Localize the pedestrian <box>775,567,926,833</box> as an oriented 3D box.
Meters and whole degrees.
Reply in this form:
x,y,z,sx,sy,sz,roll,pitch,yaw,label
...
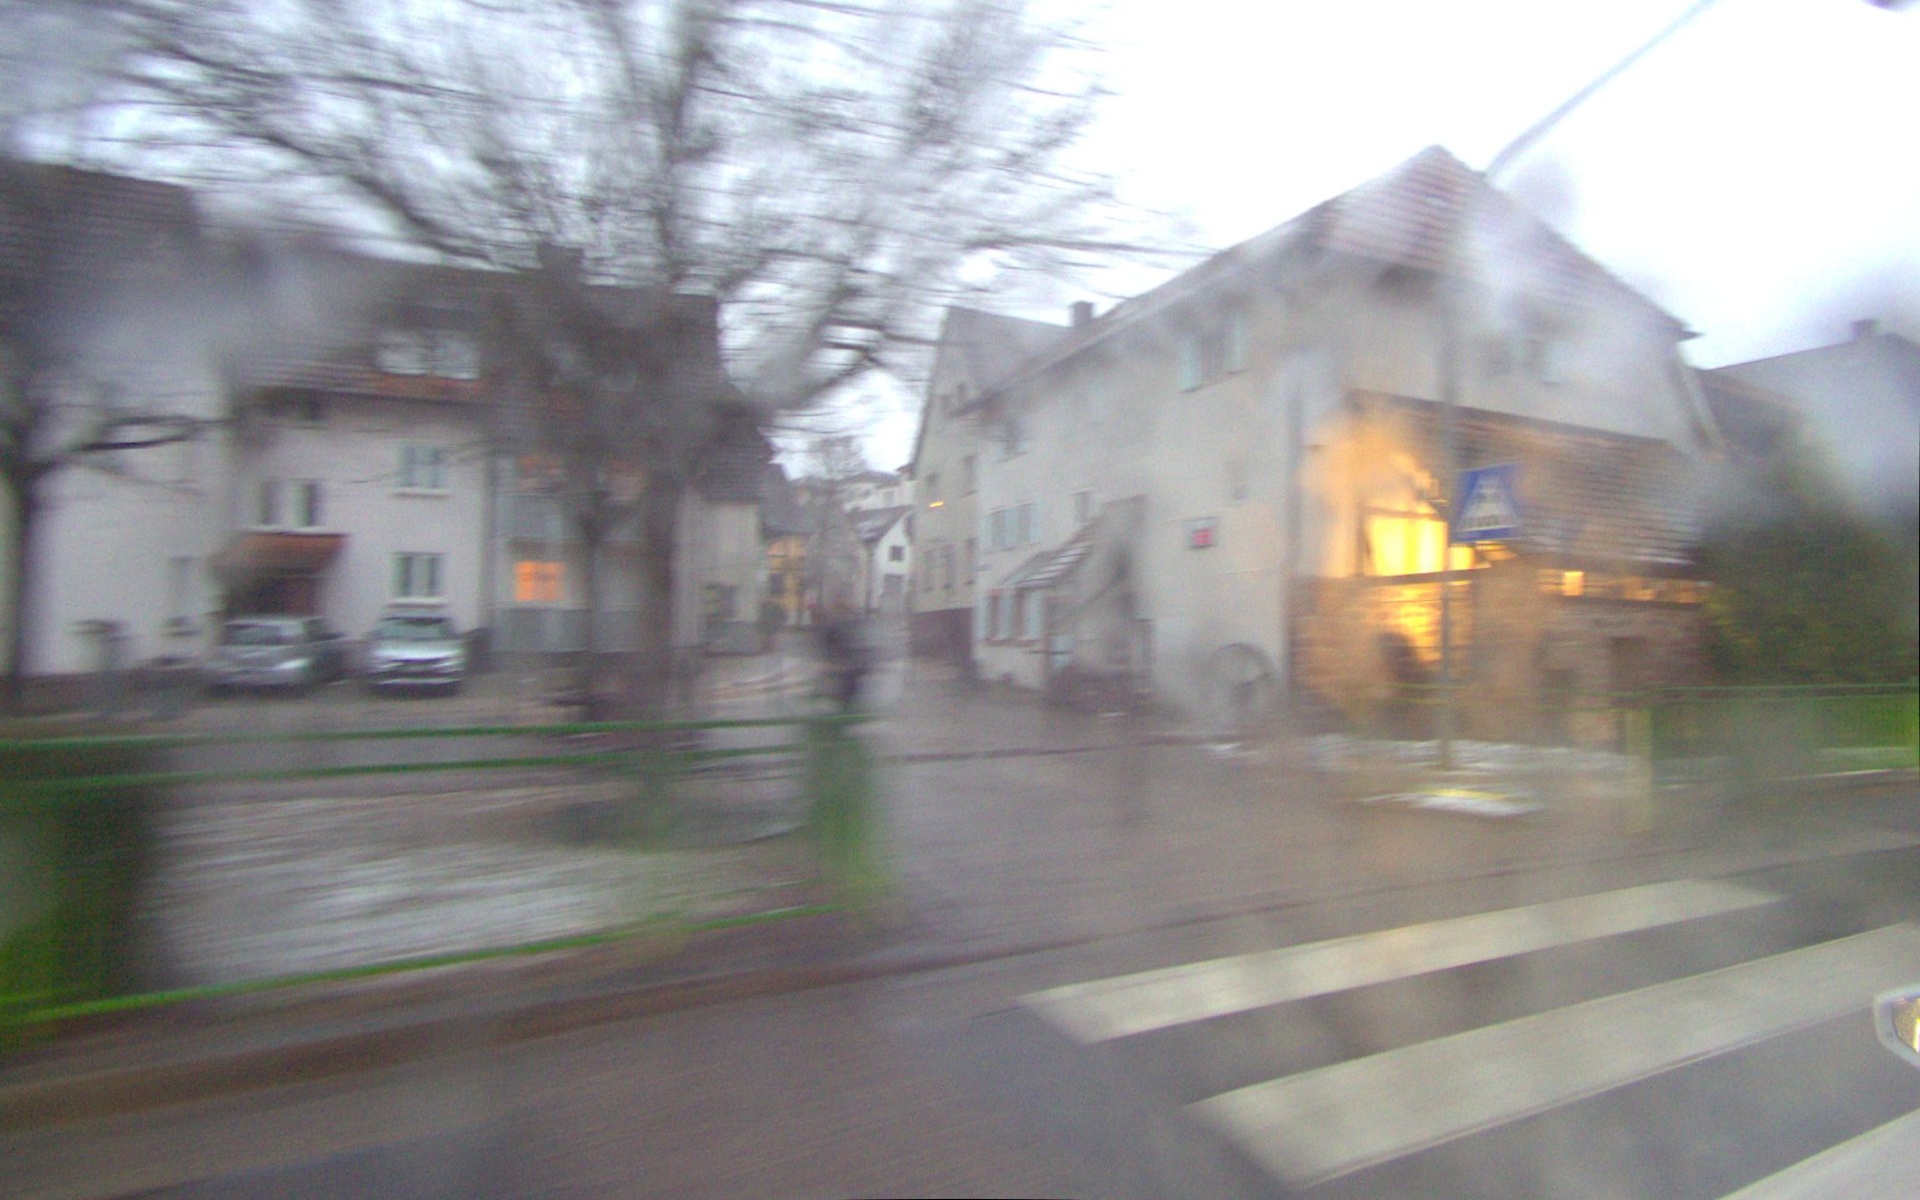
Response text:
x,y,z,sx,sy,sz,roll,pitch,yaw,label
-0.808,0.674,7.225,0.940,1.758,0.879,0,-1,-17,pedestrian

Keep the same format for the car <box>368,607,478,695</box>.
x,y,z,sx,sy,sz,roll,pitch,yaw,label
-11.465,1.029,21.652,1.688,1.633,3.591,1,1,-22,car

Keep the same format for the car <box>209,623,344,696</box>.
x,y,z,sx,sy,sz,roll,pitch,yaw,label
-13.968,1.168,20.684,1.505,1.142,3.041,1,3,-18,car

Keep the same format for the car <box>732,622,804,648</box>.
x,y,z,sx,sy,sz,roll,pitch,yaw,label
-8.287,1.521,43.369,2.984,1.012,1.422,1,1,-14,car
